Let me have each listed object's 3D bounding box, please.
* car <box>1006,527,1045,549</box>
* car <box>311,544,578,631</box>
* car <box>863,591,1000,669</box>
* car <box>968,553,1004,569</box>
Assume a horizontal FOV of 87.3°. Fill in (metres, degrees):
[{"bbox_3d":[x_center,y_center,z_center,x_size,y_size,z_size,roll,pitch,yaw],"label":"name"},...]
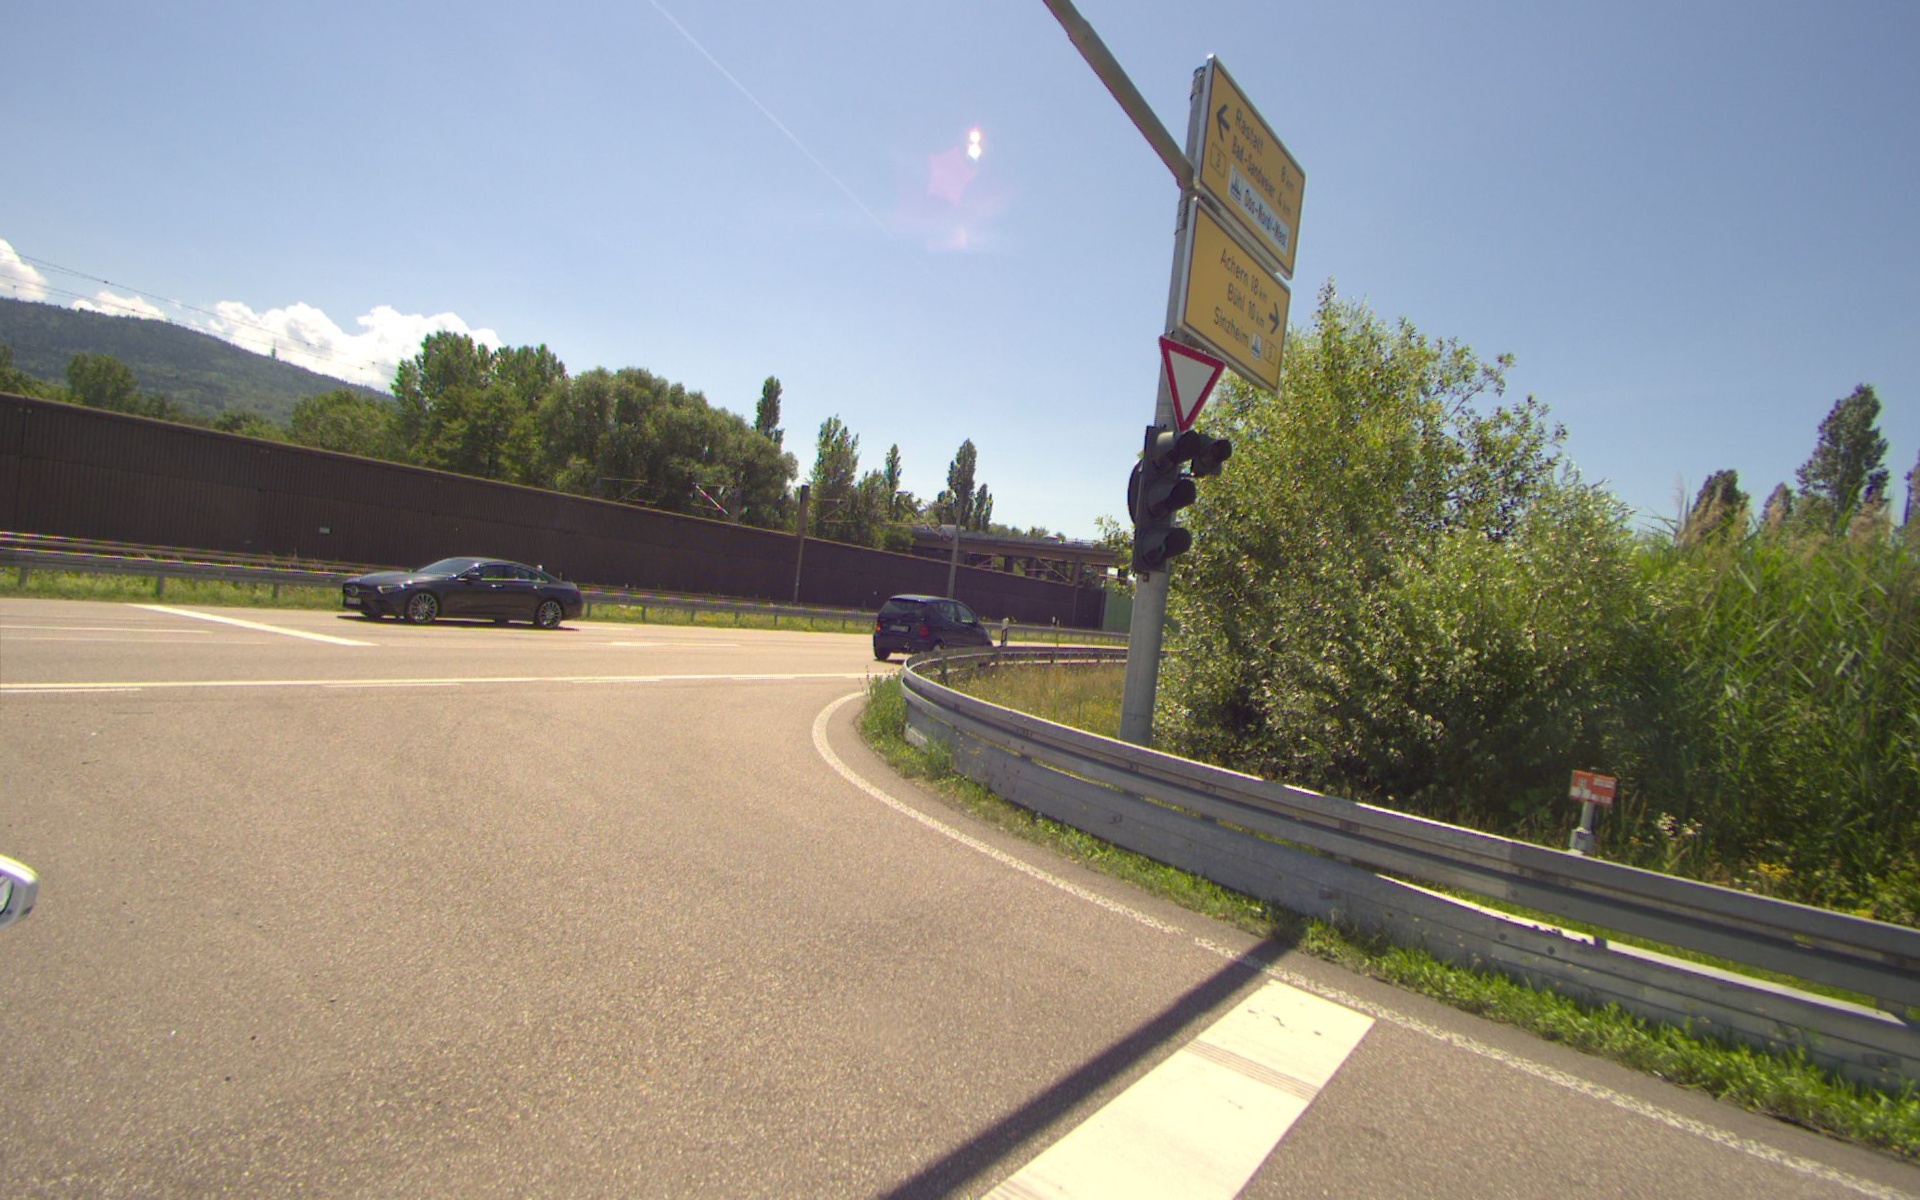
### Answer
[{"bbox_3d":[8.548,-8.137,131.254,4.576,2.472,1.907,5,0,35],"label":"car"},{"bbox_3d":[-10.595,-0.194,21.078,1.881,1.381,4.639,5,-1,30],"label":"car"},{"bbox_3d":[-0.619,0.769,24.630,1.615,1.617,3.554,6,0,30],"label":"car"},{"bbox_3d":[3.582,-5.443,139.693,4.576,1.812,1.907,5,0,35],"label":"car"}]
